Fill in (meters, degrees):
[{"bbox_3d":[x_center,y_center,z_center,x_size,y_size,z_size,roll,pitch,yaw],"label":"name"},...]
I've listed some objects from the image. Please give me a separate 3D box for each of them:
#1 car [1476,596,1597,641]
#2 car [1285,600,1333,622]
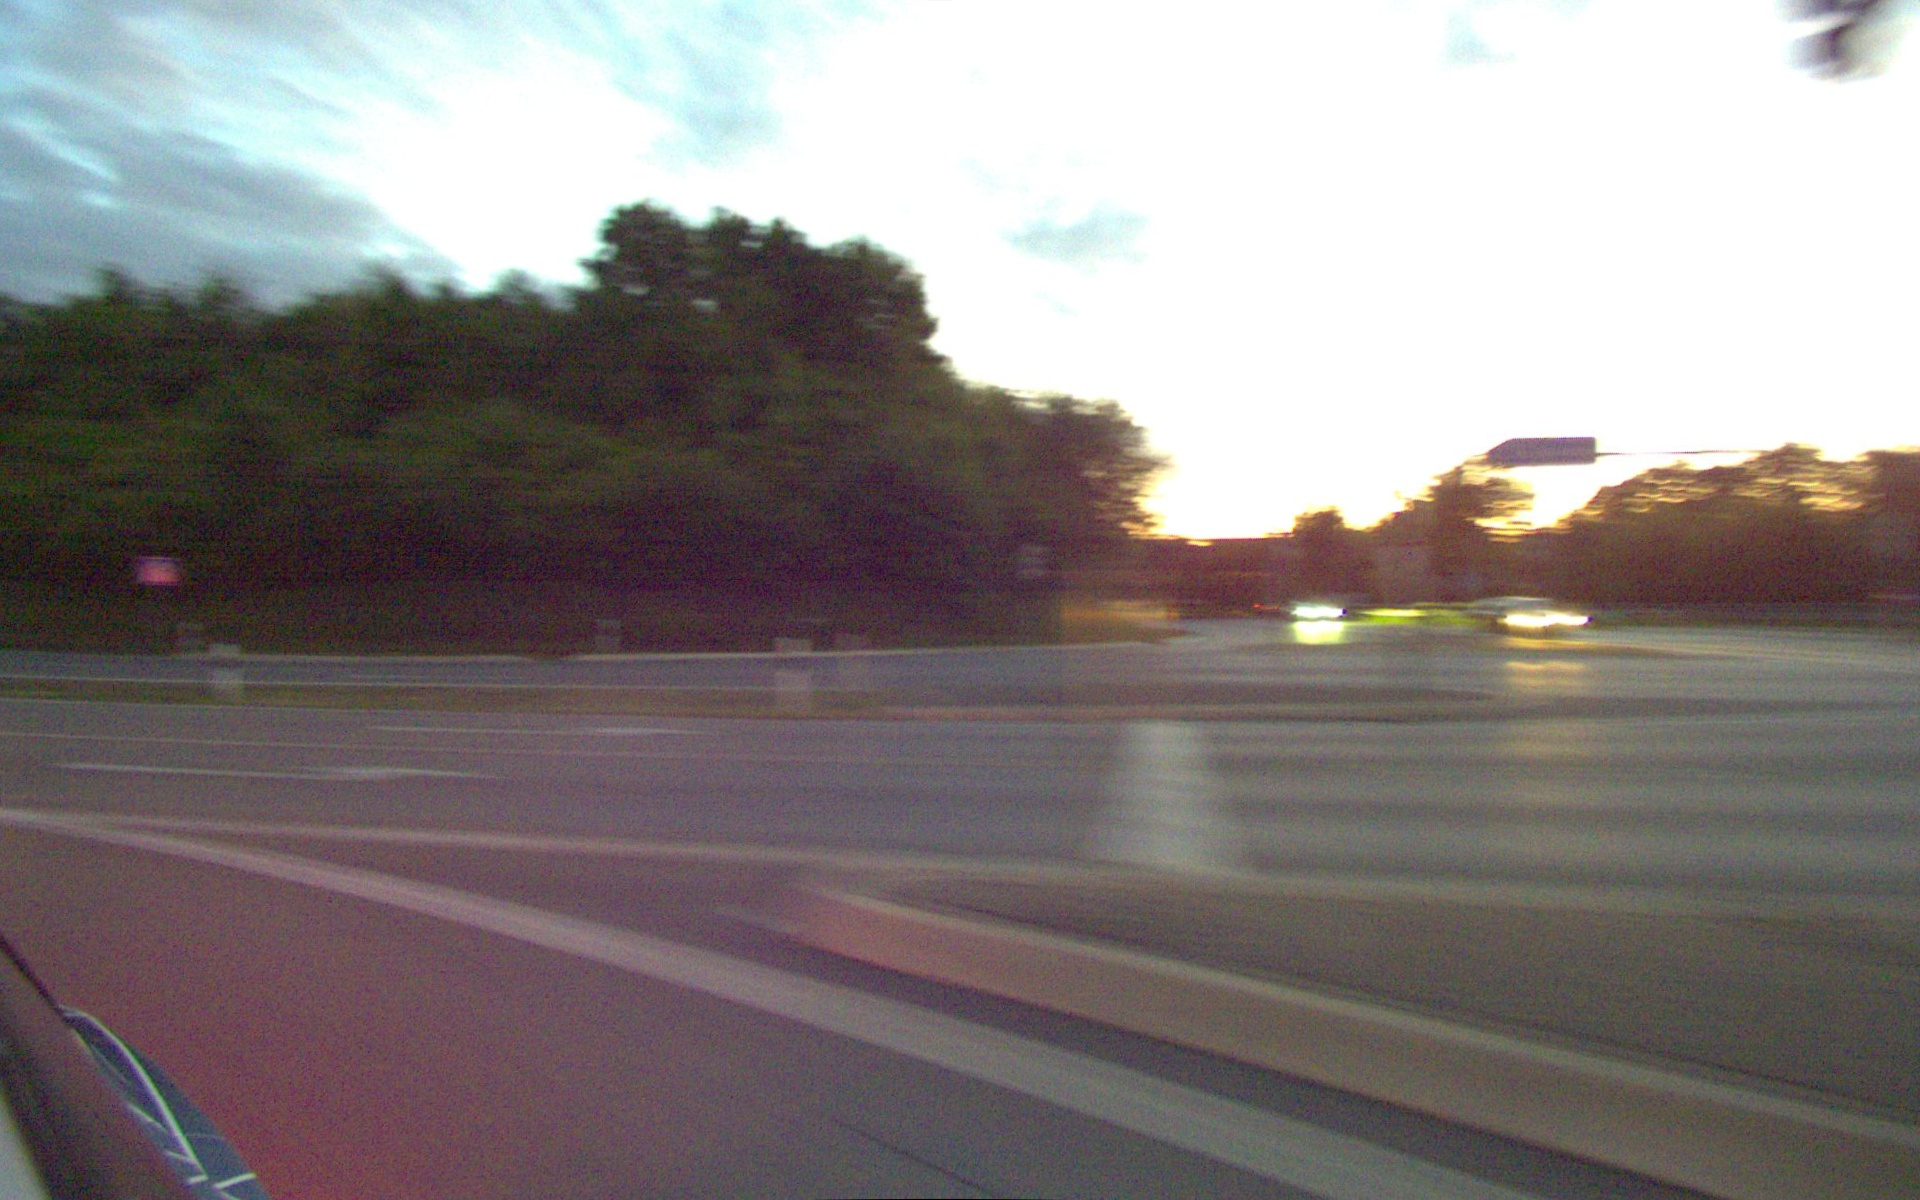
[{"bbox_3d":[20.211,0.631,35.679,1.972,1.464,3.999,1,-1,1],"label":"car"},{"bbox_3d":[24.709,0.794,71.810,1.974,1.464,4.729,-1,0,4],"label":"car"}]
